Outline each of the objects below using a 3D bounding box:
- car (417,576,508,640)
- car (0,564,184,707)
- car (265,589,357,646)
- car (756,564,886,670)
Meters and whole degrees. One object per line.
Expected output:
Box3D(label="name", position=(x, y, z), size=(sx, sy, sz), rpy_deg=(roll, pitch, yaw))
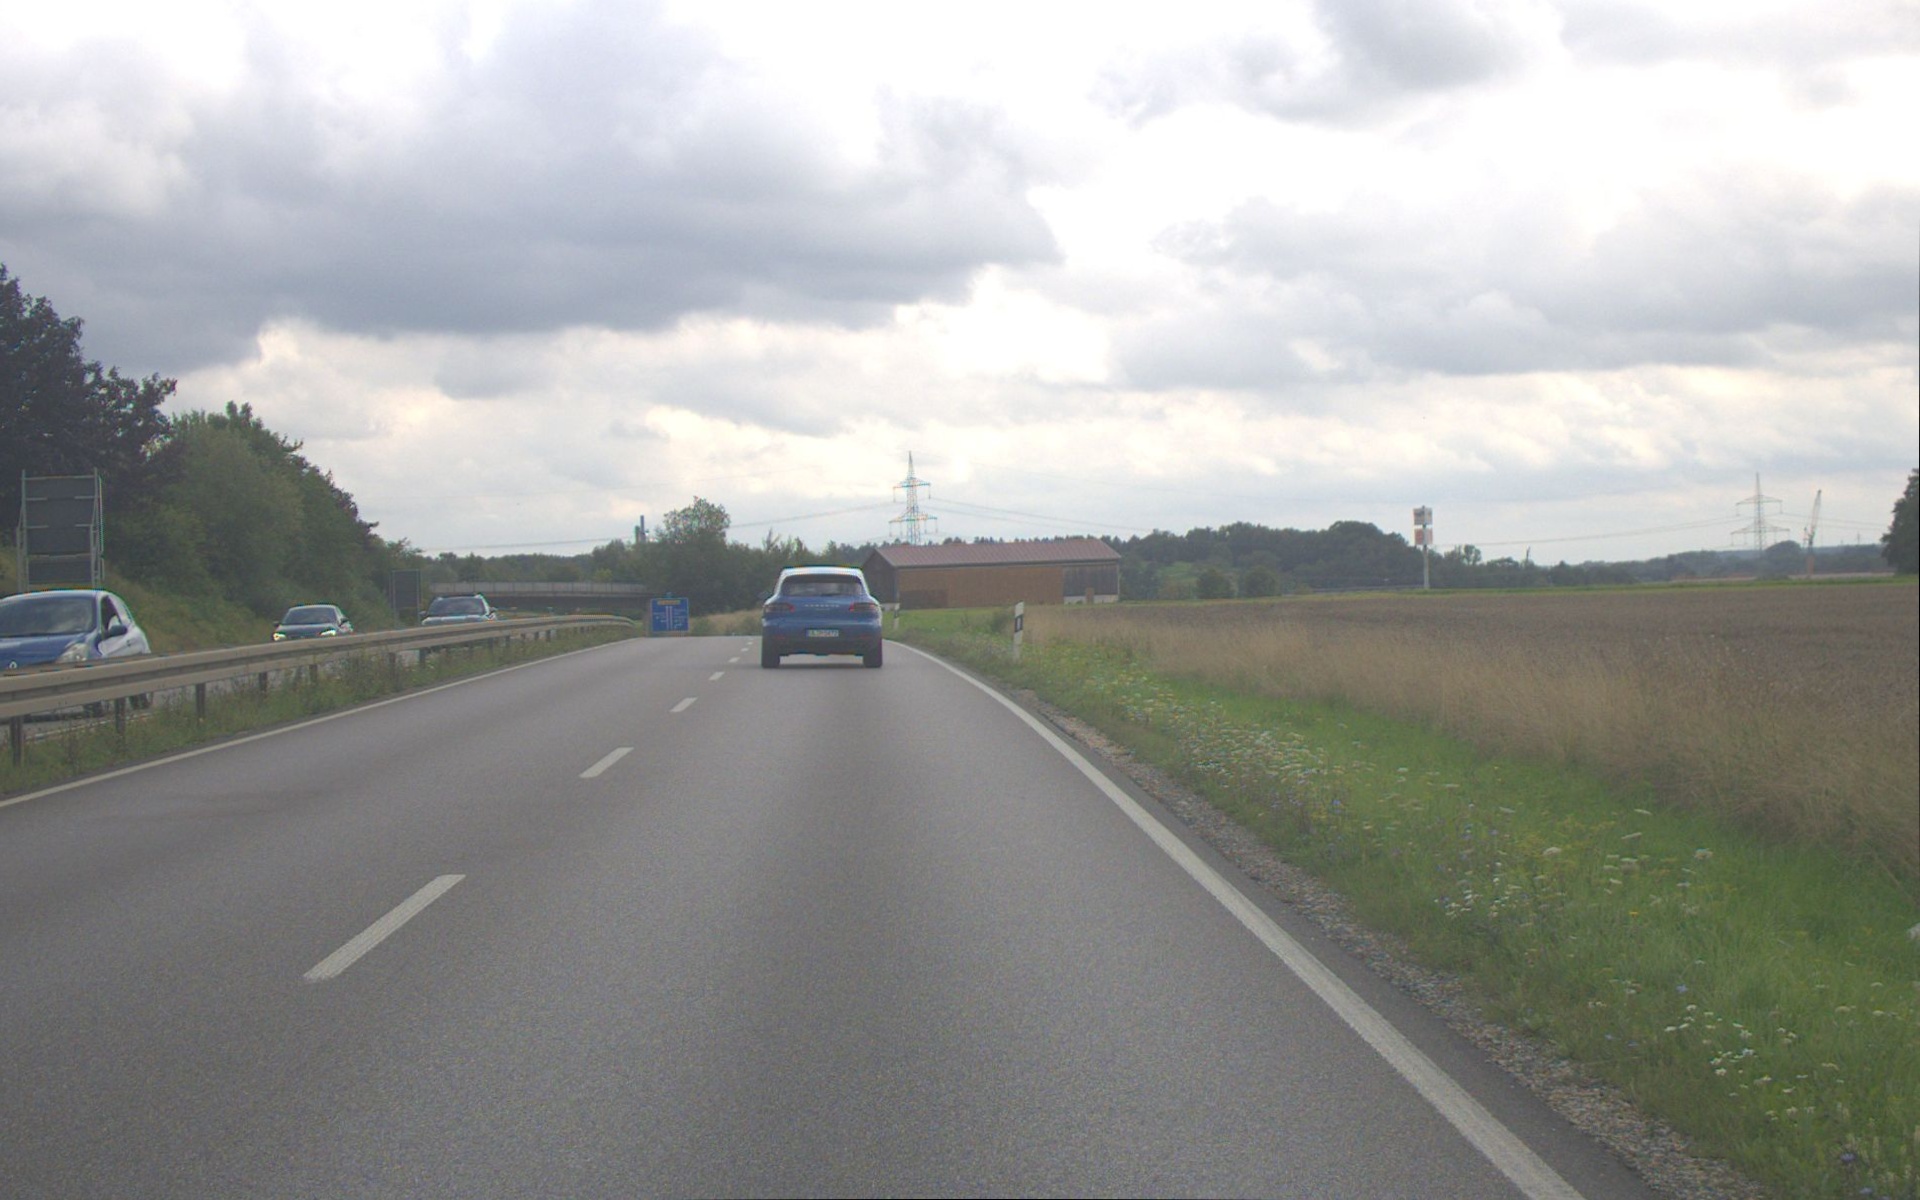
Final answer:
Box3D(label="car", position=(-12.679, 0.173, 87.803), size=(1.754, 1.481, 4.577), rpy_deg=(-2, 1, -2))
Box3D(label="car", position=(-10.592, 0.385, 40.232), size=(2.086, 1.514, 4.193), rpy_deg=(-2, 1, -1))
Box3D(label="car", position=(-16.917, 0.431, 89.771), size=(1.691, 1.319, 4.417), rpy_deg=(-2, 1, -2))
Box3D(label="car", position=(-2.249, 0.242, 55.981), size=(2.033, 1.655, 4.544), rpy_deg=(0, 0, -2))
